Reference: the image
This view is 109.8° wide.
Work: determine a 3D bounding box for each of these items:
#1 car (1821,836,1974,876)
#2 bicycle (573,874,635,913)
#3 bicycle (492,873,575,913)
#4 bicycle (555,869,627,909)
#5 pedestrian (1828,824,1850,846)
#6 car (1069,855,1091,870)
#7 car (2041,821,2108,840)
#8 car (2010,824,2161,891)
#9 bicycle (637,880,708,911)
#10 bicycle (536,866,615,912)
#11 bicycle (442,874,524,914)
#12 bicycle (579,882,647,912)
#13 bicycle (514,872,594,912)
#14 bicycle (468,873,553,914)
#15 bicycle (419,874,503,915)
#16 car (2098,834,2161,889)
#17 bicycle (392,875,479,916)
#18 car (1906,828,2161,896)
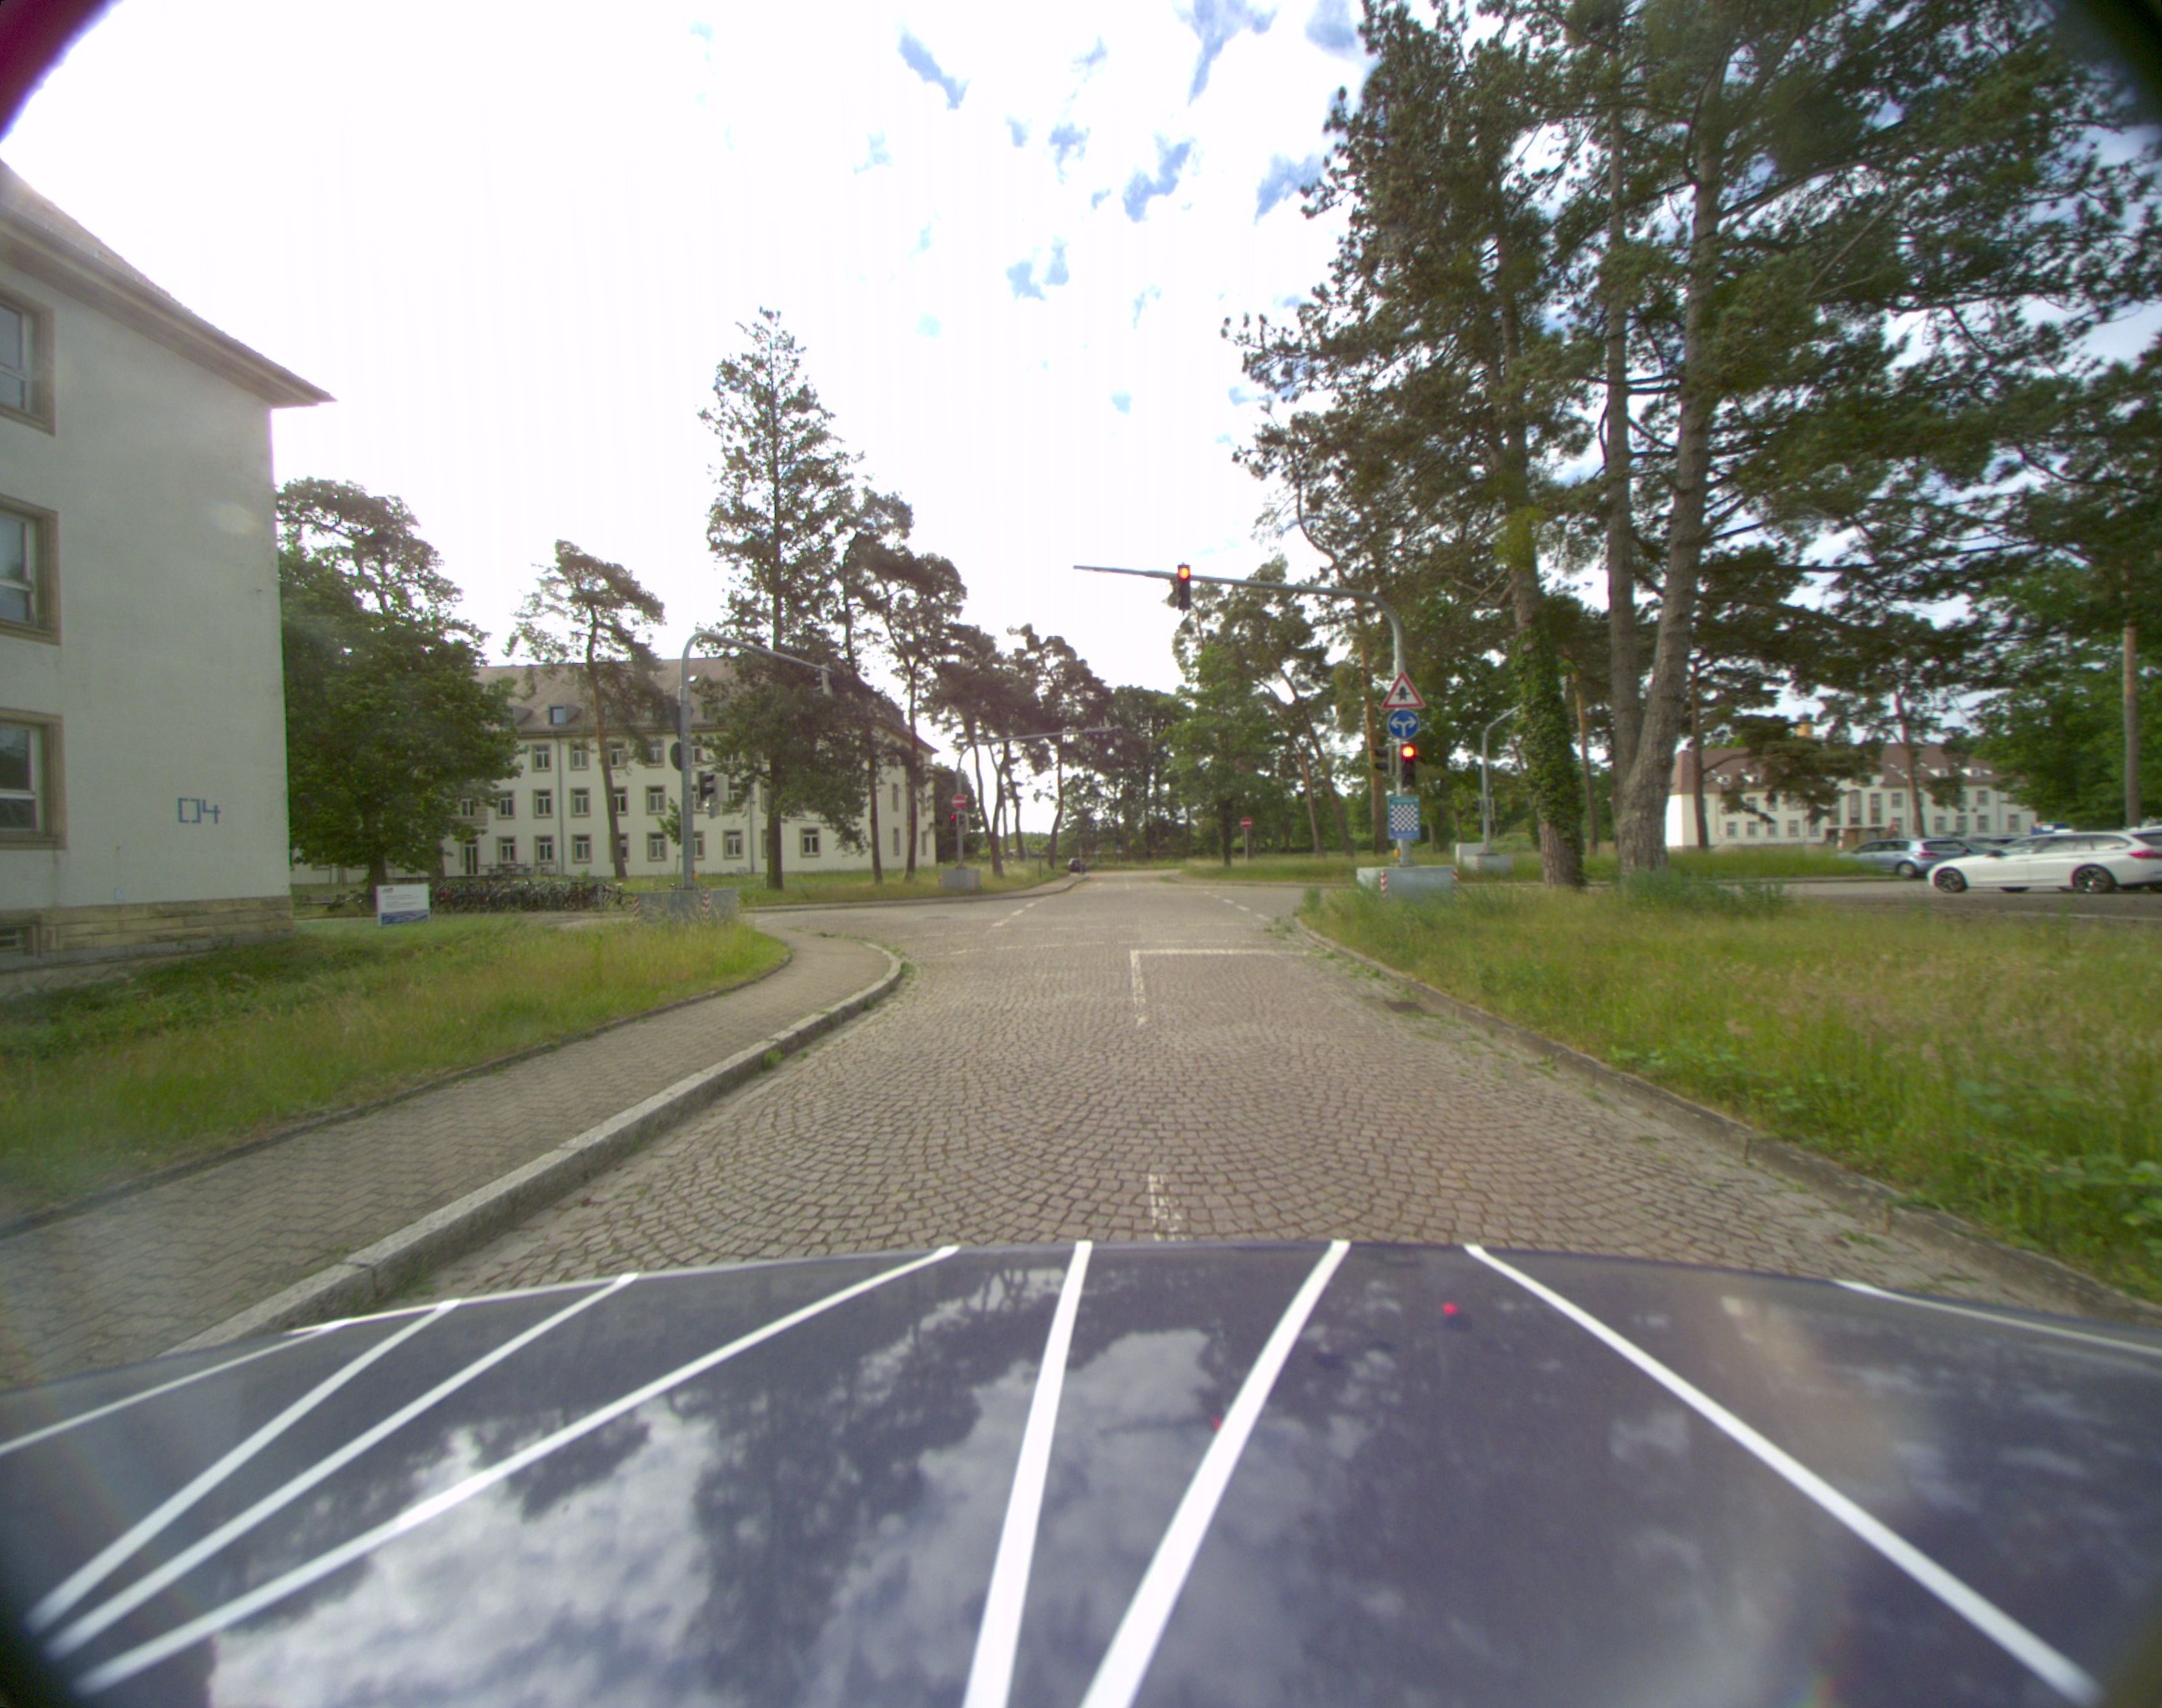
[{"bbox_3d":[31.216,0.056,29.251,1.794,1.410,4.001,-2,0,5],"label":"car"},{"bbox_3d":[-17.631,1.432,28.157,0.873,1.299,2.120,-2,0,3],"label":"bicycle"},{"bbox_3d":[-20.551,1.432,28.641,0.950,1.363,2.812,-2,0,3],"label":"bicycle"},{"bbox_3d":[-18.234,1.282,28.376,0.873,1.359,2.628,-2,0,3],"label":"bicycle"},{"bbox_3d":[76.649,-1.876,76.870,1.055,2.165,1.185,-2,1,4],"label":"pedestrian"},{"bbox_3d":[-0.047,0.901,83.017,1.998,1.524,4.001,-2,0,5],"label":"car"},{"bbox_3d":[115.344,-2.681,88.255,4.830,2.002,2.167,-2,0,2],"label":"car"},{"bbox_3d":[26.103,0.075,18.330,1.846,1.580,4.489,-2,-1,0],"label":"car"},{"bbox_3d":[-14.339,1.439,26.680,1.977,0.990,0.903,-2,0,2],"label":"bicycle"},{"bbox_3d":[-19.080,1.291,28.766,0.950,1.574,2.812,-2,0,3],"label":"bicycle"},{"bbox_3d":[-22.414,1.465,28.555,0.950,1.363,2.577,-2,0,2],"label":"bicycle"},{"bbox_3d":[-16.430,1.512,26.707,1.976,0.990,0.730,-2,0,8],"label":"bicycle"},{"bbox_3d":[-19.998,1.420,28.942,0.950,1.363,2.812,-2,0,3],"label":"bicycle"},{"bbox_3d":[-21.444,1.463,28.655,0.950,1.363,2.812,-2,0,3],"label":"bicycle"},{"bbox_3d":[-23.253,1.495,28.583,0.950,1.363,2.577,-2,0,2],"label":"bicycle"},{"bbox_3d":[28.816,0.189,18.514,1.883,1.414,4.635,-2,0,1],"label":"car"},{"bbox_3d":[-24.099,1.521,28.459,0.950,1.363,2.577,-2,0,2],"label":"bicycle"},{"bbox_3d":[23.500,0.250,18.363,1.912,1.430,4.824,-2,-2,1],"label":"car"}]
